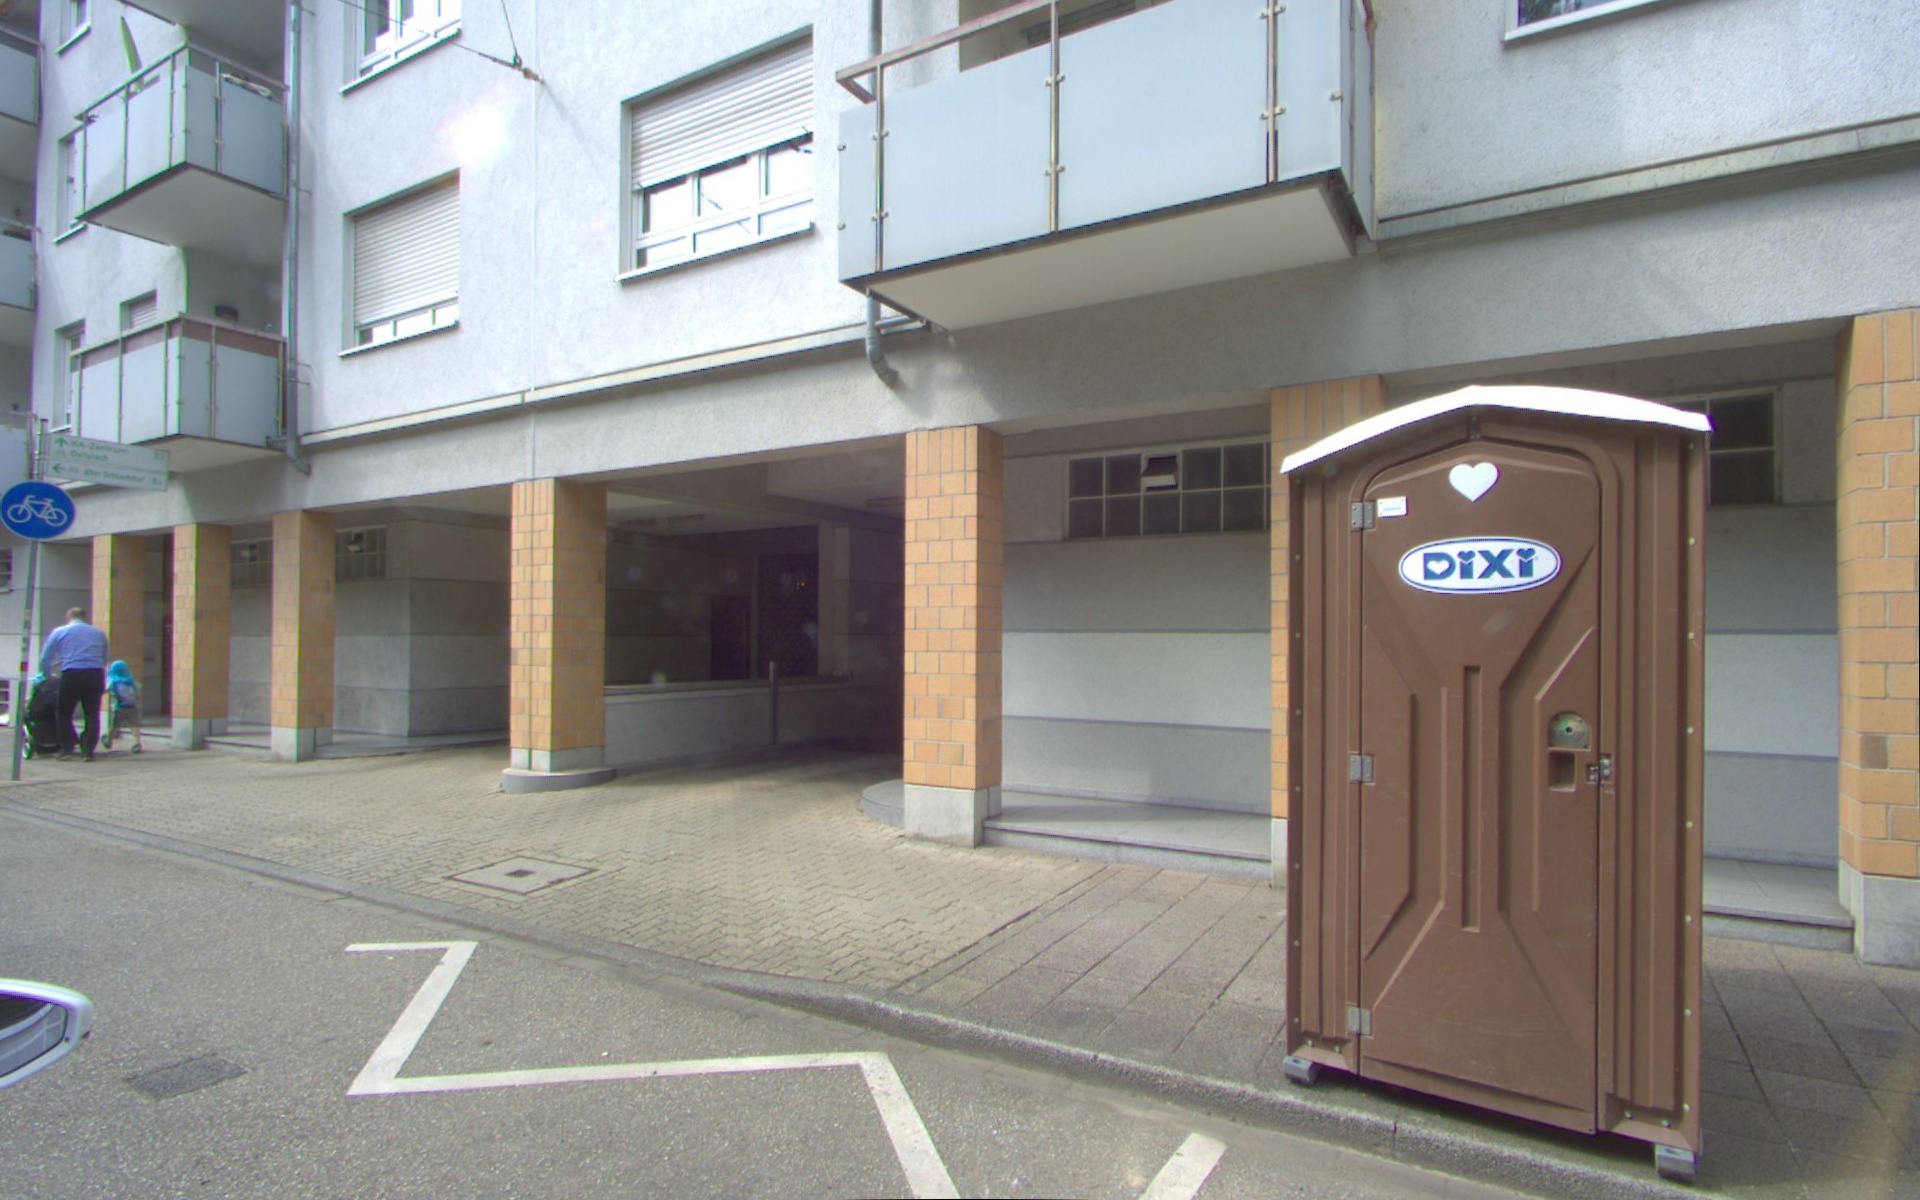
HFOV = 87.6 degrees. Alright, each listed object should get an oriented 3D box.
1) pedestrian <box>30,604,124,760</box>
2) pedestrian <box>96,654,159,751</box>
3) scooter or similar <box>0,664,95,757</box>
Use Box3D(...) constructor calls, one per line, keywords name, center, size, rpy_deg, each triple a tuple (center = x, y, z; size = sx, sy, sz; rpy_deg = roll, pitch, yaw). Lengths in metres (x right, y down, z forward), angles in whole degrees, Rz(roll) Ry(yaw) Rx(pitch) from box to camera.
Box3D(name="pedestrian", center=(-10.415, 0.938, 11.810), size=(0.865, 1.761, 0.620), rpy_deg=(0, 0, 32))
Box3D(name="pedestrian", center=(-10.383, 1.269, 12.494), size=(0.487, 1.150, 0.455), rpy_deg=(0, 1, 32))
Box3D(name="scooter or similar", center=(-11.071, 1.316, 12.152), size=(0.893, 1.016, 0.591), rpy_deg=(-1, 2, 32))
